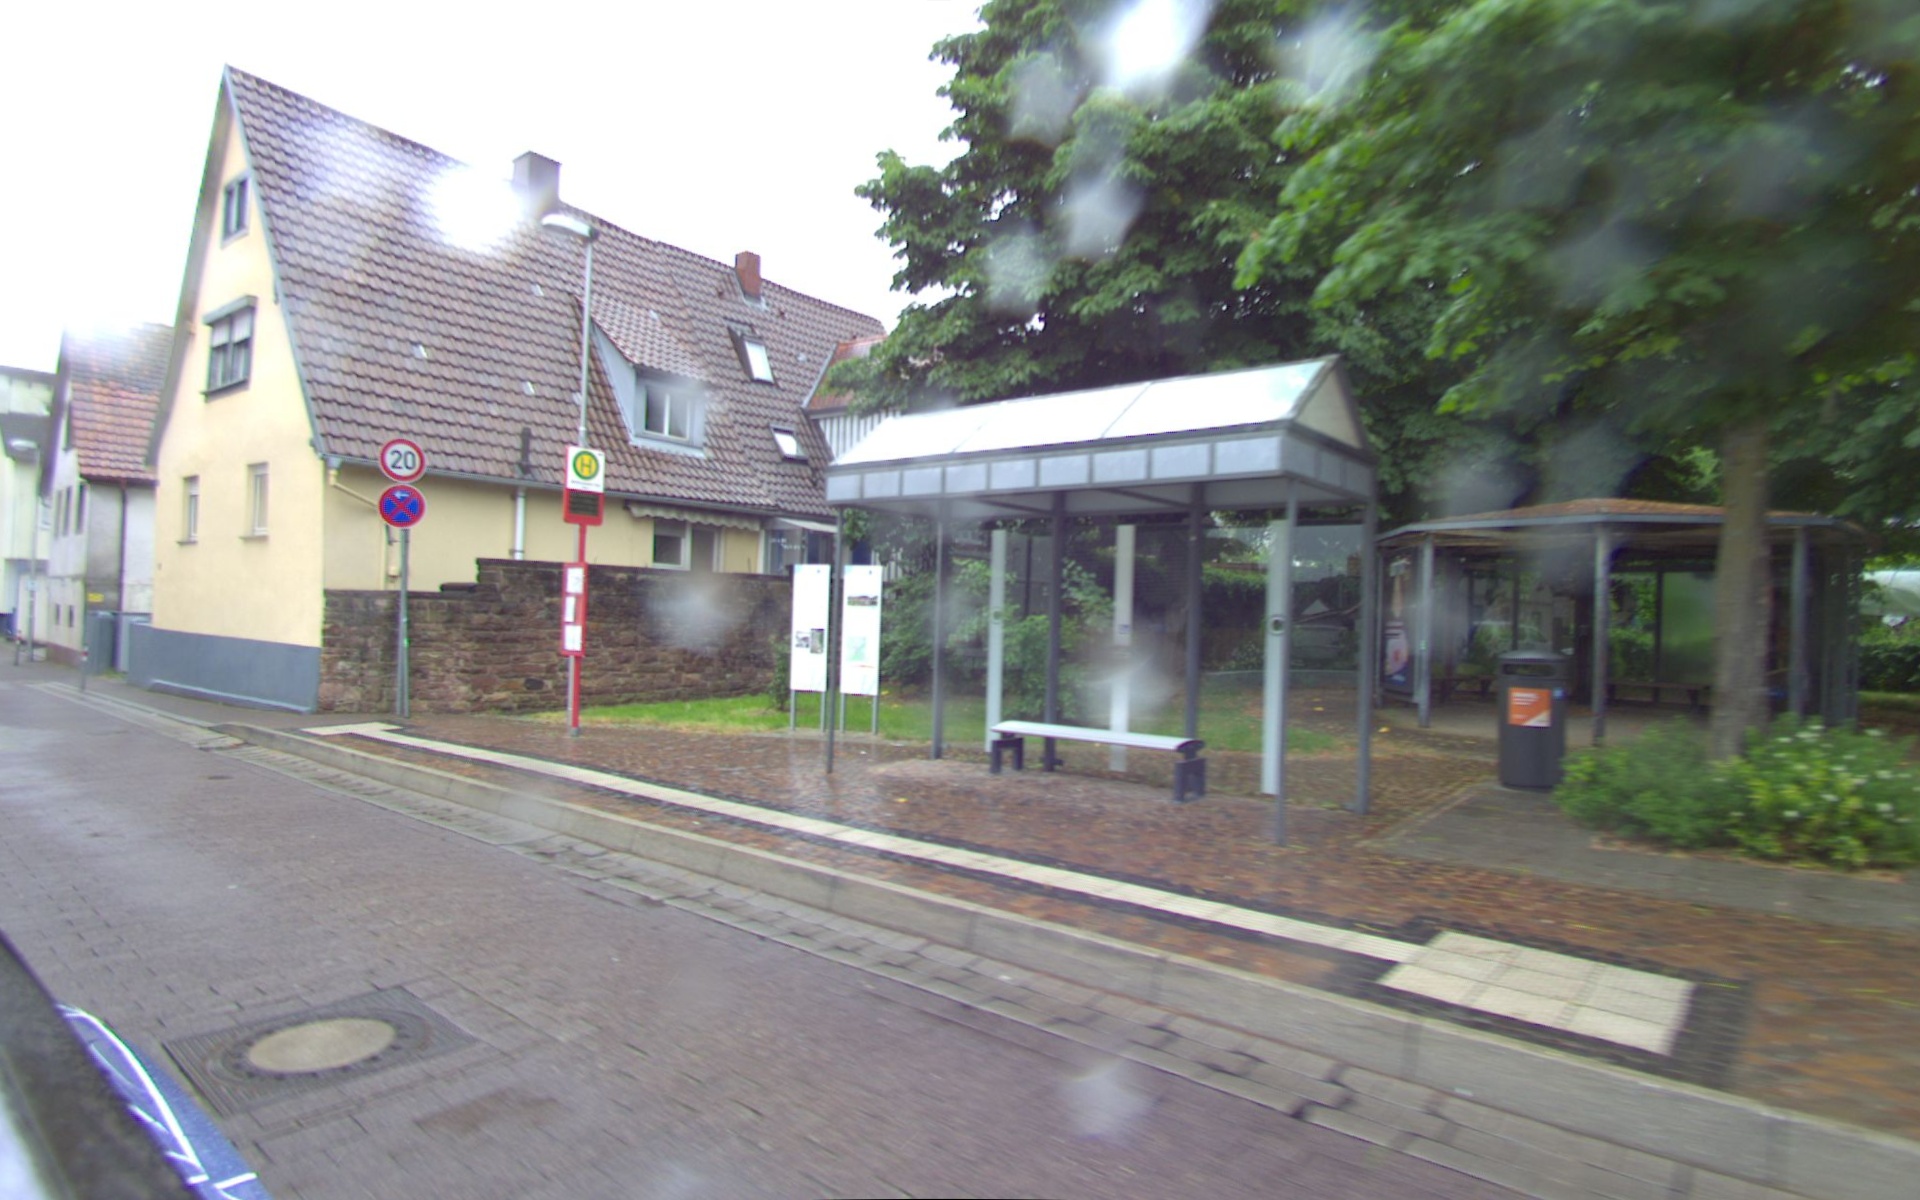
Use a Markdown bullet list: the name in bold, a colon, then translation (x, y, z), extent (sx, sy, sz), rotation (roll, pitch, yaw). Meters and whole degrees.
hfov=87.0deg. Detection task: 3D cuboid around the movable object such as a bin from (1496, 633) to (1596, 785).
- **movable object such as a bin**: translation (4.817, 0.868, 8.314), extent (0.604, 1.155, 0.556), rotation (2, 0, 39)
